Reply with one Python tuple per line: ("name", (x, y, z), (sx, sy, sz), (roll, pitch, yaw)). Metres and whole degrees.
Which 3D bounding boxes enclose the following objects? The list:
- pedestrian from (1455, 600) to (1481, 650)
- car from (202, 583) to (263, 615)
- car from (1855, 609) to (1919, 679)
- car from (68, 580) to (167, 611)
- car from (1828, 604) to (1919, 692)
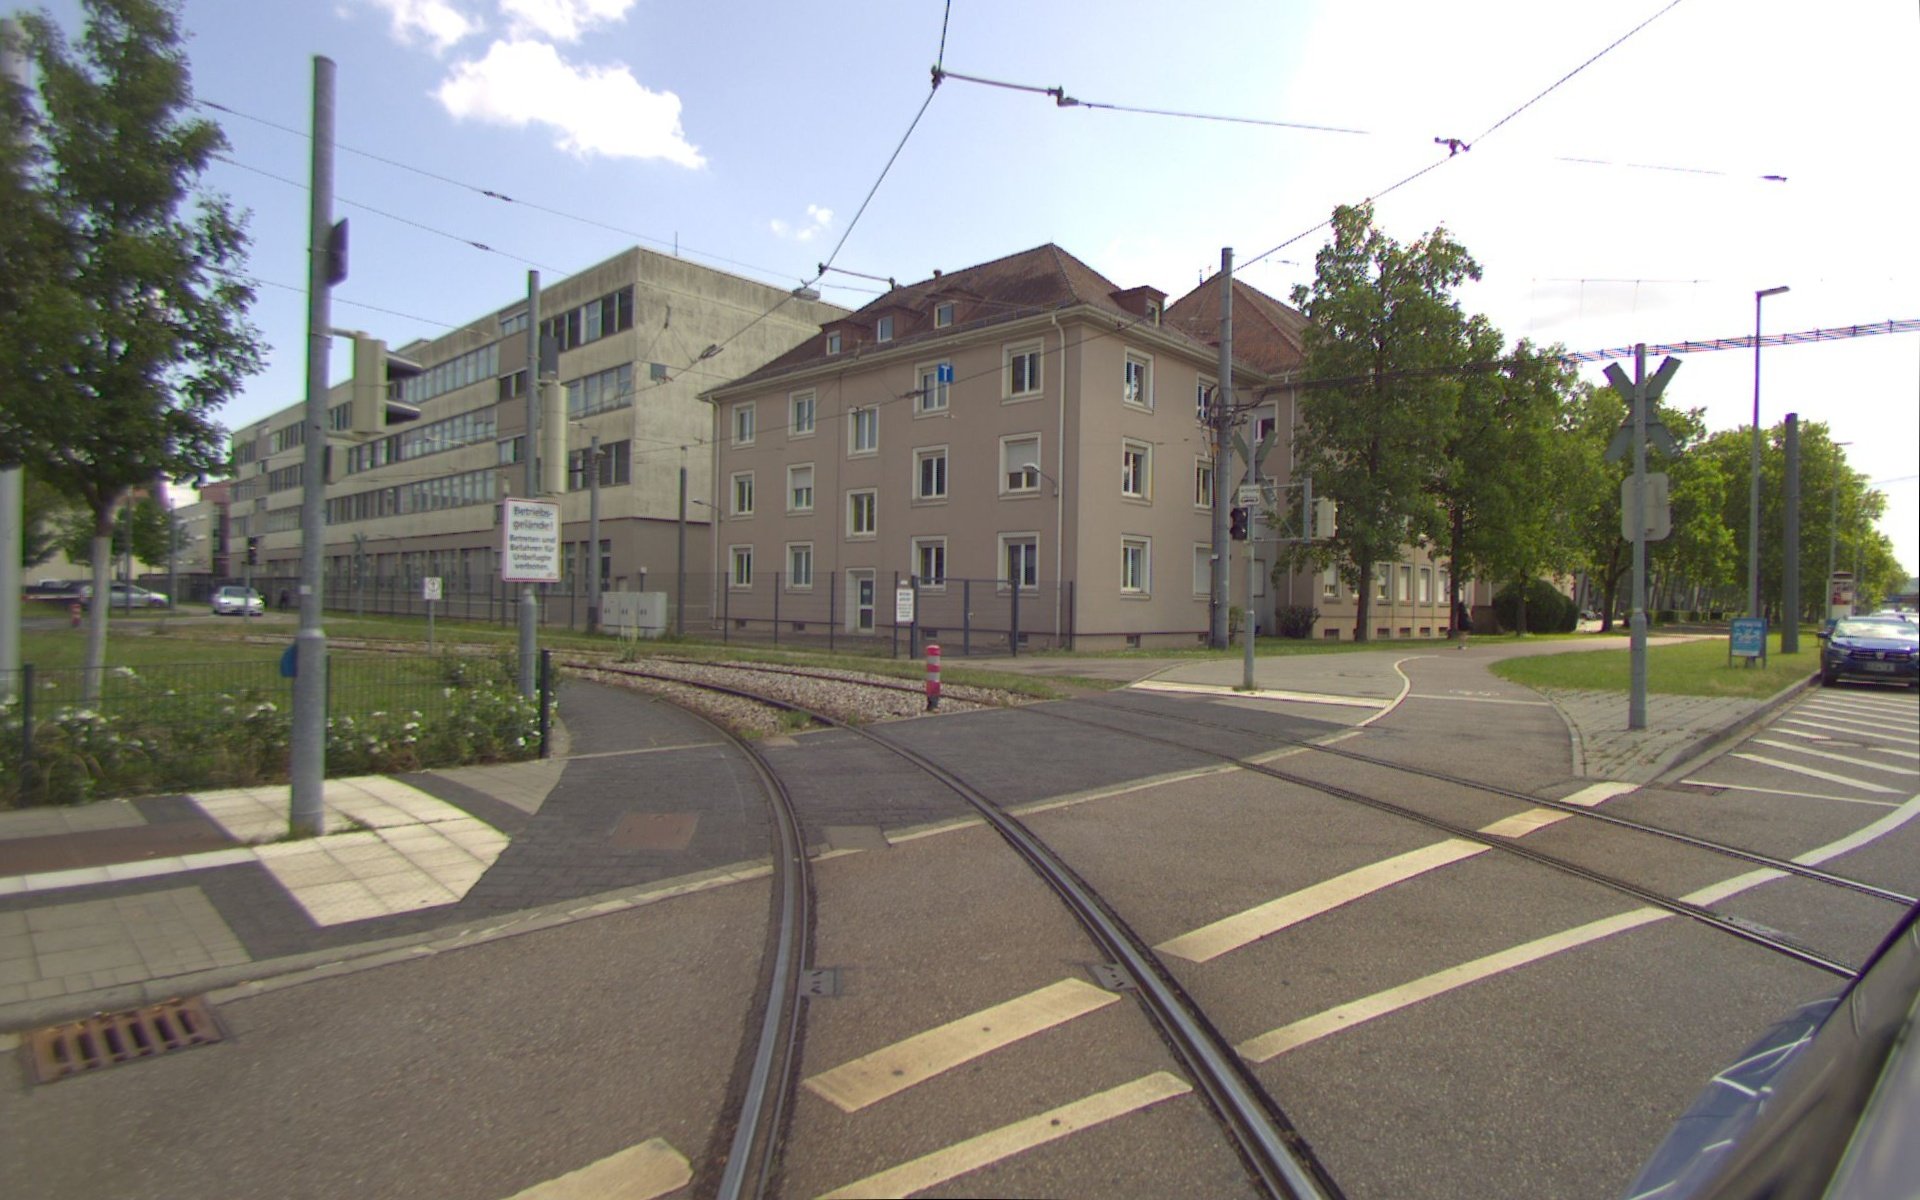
("pedestrian", (17.151, 0.839, 34.169), (0.615, 1.627, 0.621), (1, 2, 16))
("car", (-37.419, -0.077, 51.991), (4.017, 1.587, 1.781), (0, 1, 43))
("car", (23.460, 1.035, 25.059), (1.816, 1.472, 4.913), (2, 2, 43))
("car", (-45.397, -0.266, 54.582), (3.967, 1.587, 1.803), (-2, 1, -45))
("car", (19.689, 0.943, 21.521), (1.778, 1.559, 4.355), (2, 2, 41))
